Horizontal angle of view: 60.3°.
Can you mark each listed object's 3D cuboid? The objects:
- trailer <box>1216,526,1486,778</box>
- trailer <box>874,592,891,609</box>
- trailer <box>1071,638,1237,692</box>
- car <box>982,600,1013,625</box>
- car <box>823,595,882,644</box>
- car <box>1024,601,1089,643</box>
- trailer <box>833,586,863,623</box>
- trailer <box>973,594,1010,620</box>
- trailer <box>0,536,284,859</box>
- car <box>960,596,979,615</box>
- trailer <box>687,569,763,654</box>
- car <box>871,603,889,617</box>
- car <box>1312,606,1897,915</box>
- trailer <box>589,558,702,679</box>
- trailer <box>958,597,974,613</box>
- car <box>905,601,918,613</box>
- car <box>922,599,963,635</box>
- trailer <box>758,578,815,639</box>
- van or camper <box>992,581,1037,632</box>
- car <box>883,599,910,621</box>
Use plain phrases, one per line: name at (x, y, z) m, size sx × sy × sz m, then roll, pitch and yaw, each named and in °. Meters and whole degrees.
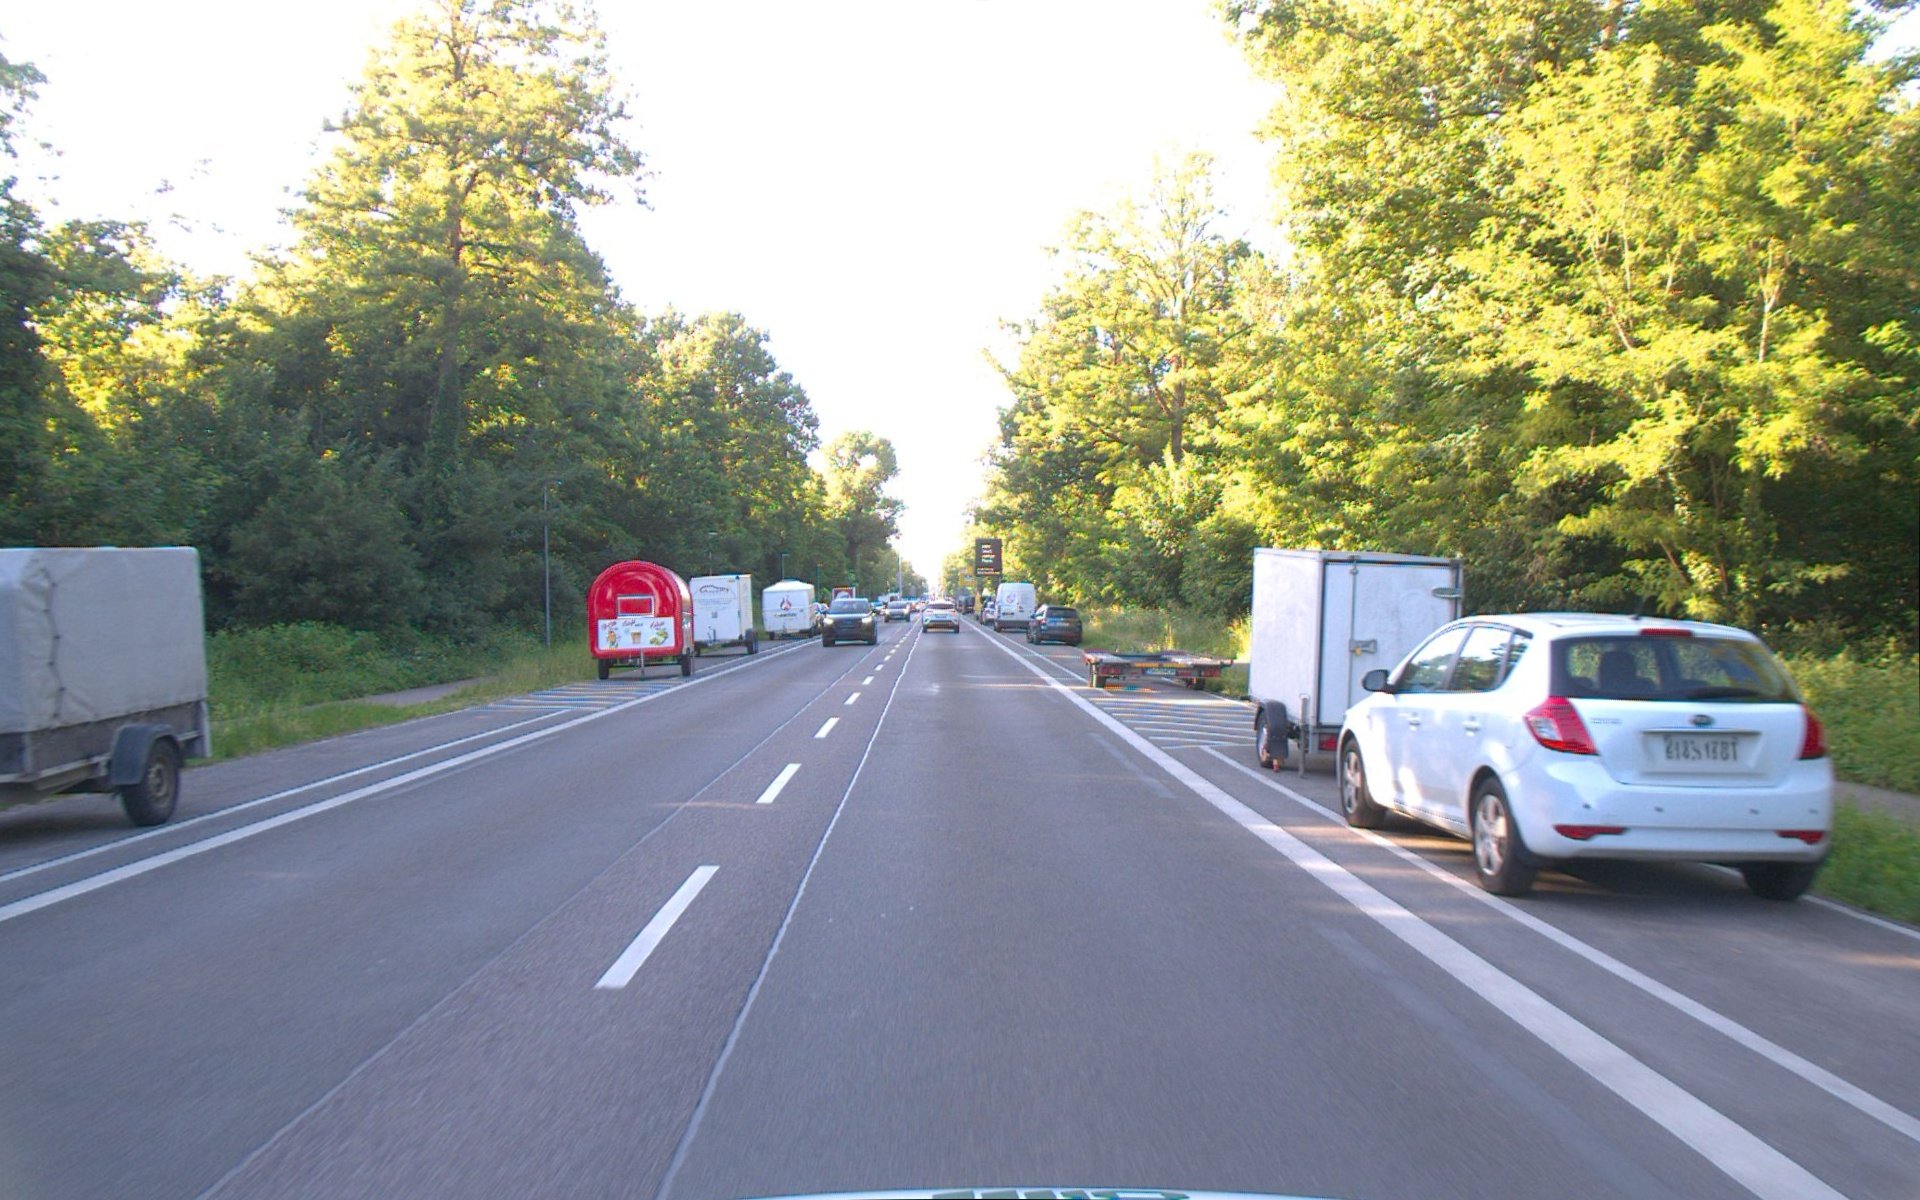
trailer at (3.717, 0.455, 16.322) m, size 1.719 × 2.199 × 3.538 m, roll 0°, pitch 0°, yaw -2°
trailer at (-10.618, 0.058, 227.665) m, size 2.032 × 2.333 × 3.487 m, roll -1°, pitch 0°, yaw 1°
trailer at (3.476, 1.160, 30.844) m, size 2.383 × 0.812 × 5.658 m, roll 1°, pitch 0°, yaw -1°
car at (2.384, 0.771, 105.604) m, size 1.700 × 1.514 × 4.399 m, roll 2°, pitch 0°, yaw -2°
car at (-3.765, 0.685, 58.513) m, size 1.781 × 1.614 × 4.458 m, roll -1°, pitch 0°, yaw -1°
car at (3.545, 0.789, 61.450) m, size 1.798 × 1.446 × 4.593 m, roll 2°, pitch 0°, yaw -4°
trailer at (-8.235, 0.350, 122.230) m, size 1.953 × 2.667 × 4.085 m, roll -1°, pitch 0°, yaw -1°
trailer at (2.577, 0.589, 133.805) m, size 1.921 × 2.058 × 3.845 m, roll 0°, pitch 0°, yaw 19°
trailer at (-6.737, 0.665, 12.358) m, size 1.815 × 2.048 × 3.560 m, roll -3°, pitch 0°, yaw 0°
car at (1.025, 0.634, 183.164) m, size 2.070 × 2.049 × 5.039 m, roll 1°, pitch 0°, yaw -1°
trailer at (-7.215, 0.341, 51.135) m, size 2.025 × 2.524 × 3.558 m, roll -1°, pitch 0°, yaw -4°
car at (-9.104, 1.084, 187.898) m, size 1.829 × 1.476 × 4.070 m, roll -3°, pitch 0°, yaw -1°
car at (3.664, 0.801, 10.422) m, size 1.849 × 1.493 × 4.568 m, roll 0°, pitch 0°, yaw -1°
trailer at (-6.910, 0.384, 36.699) m, size 2.025 × 2.524 × 3.558 m, roll -1°, pitch 0°, yaw -4°
trailer at (0.834, 0.647, 227.271) m, size 1.580 × 2.149 × 2.397 m, roll 0°, pitch 0°, yaw 20°
car at (-5.985, 0.869, 203.905) m, size 1.571 × 1.445 × 3.517 m, roll -2°, pitch 0°, yaw -1°
car at (-0.859, 0.820, 80.489) m, size 1.953 × 1.668 × 3.999 m, roll -1°, pitch 0°, yaw -1°
trailer at (-7.692, 0.376, 73.690) m, size 2.300 × 2.573 × 4.340 m, roll -1°, pitch 0°, yaw -4°
van or camper at (2.765, 0.327, 85.041) m, size 2.082 × 2.526 × 6.304 m, roll 0°, pitch 0°, yaw 0°
car at (-4.597, 0.738, 120.419) m, size 1.782 × 1.559 × 4.529 m, roll -1°, pitch 0°, yaw -1°
